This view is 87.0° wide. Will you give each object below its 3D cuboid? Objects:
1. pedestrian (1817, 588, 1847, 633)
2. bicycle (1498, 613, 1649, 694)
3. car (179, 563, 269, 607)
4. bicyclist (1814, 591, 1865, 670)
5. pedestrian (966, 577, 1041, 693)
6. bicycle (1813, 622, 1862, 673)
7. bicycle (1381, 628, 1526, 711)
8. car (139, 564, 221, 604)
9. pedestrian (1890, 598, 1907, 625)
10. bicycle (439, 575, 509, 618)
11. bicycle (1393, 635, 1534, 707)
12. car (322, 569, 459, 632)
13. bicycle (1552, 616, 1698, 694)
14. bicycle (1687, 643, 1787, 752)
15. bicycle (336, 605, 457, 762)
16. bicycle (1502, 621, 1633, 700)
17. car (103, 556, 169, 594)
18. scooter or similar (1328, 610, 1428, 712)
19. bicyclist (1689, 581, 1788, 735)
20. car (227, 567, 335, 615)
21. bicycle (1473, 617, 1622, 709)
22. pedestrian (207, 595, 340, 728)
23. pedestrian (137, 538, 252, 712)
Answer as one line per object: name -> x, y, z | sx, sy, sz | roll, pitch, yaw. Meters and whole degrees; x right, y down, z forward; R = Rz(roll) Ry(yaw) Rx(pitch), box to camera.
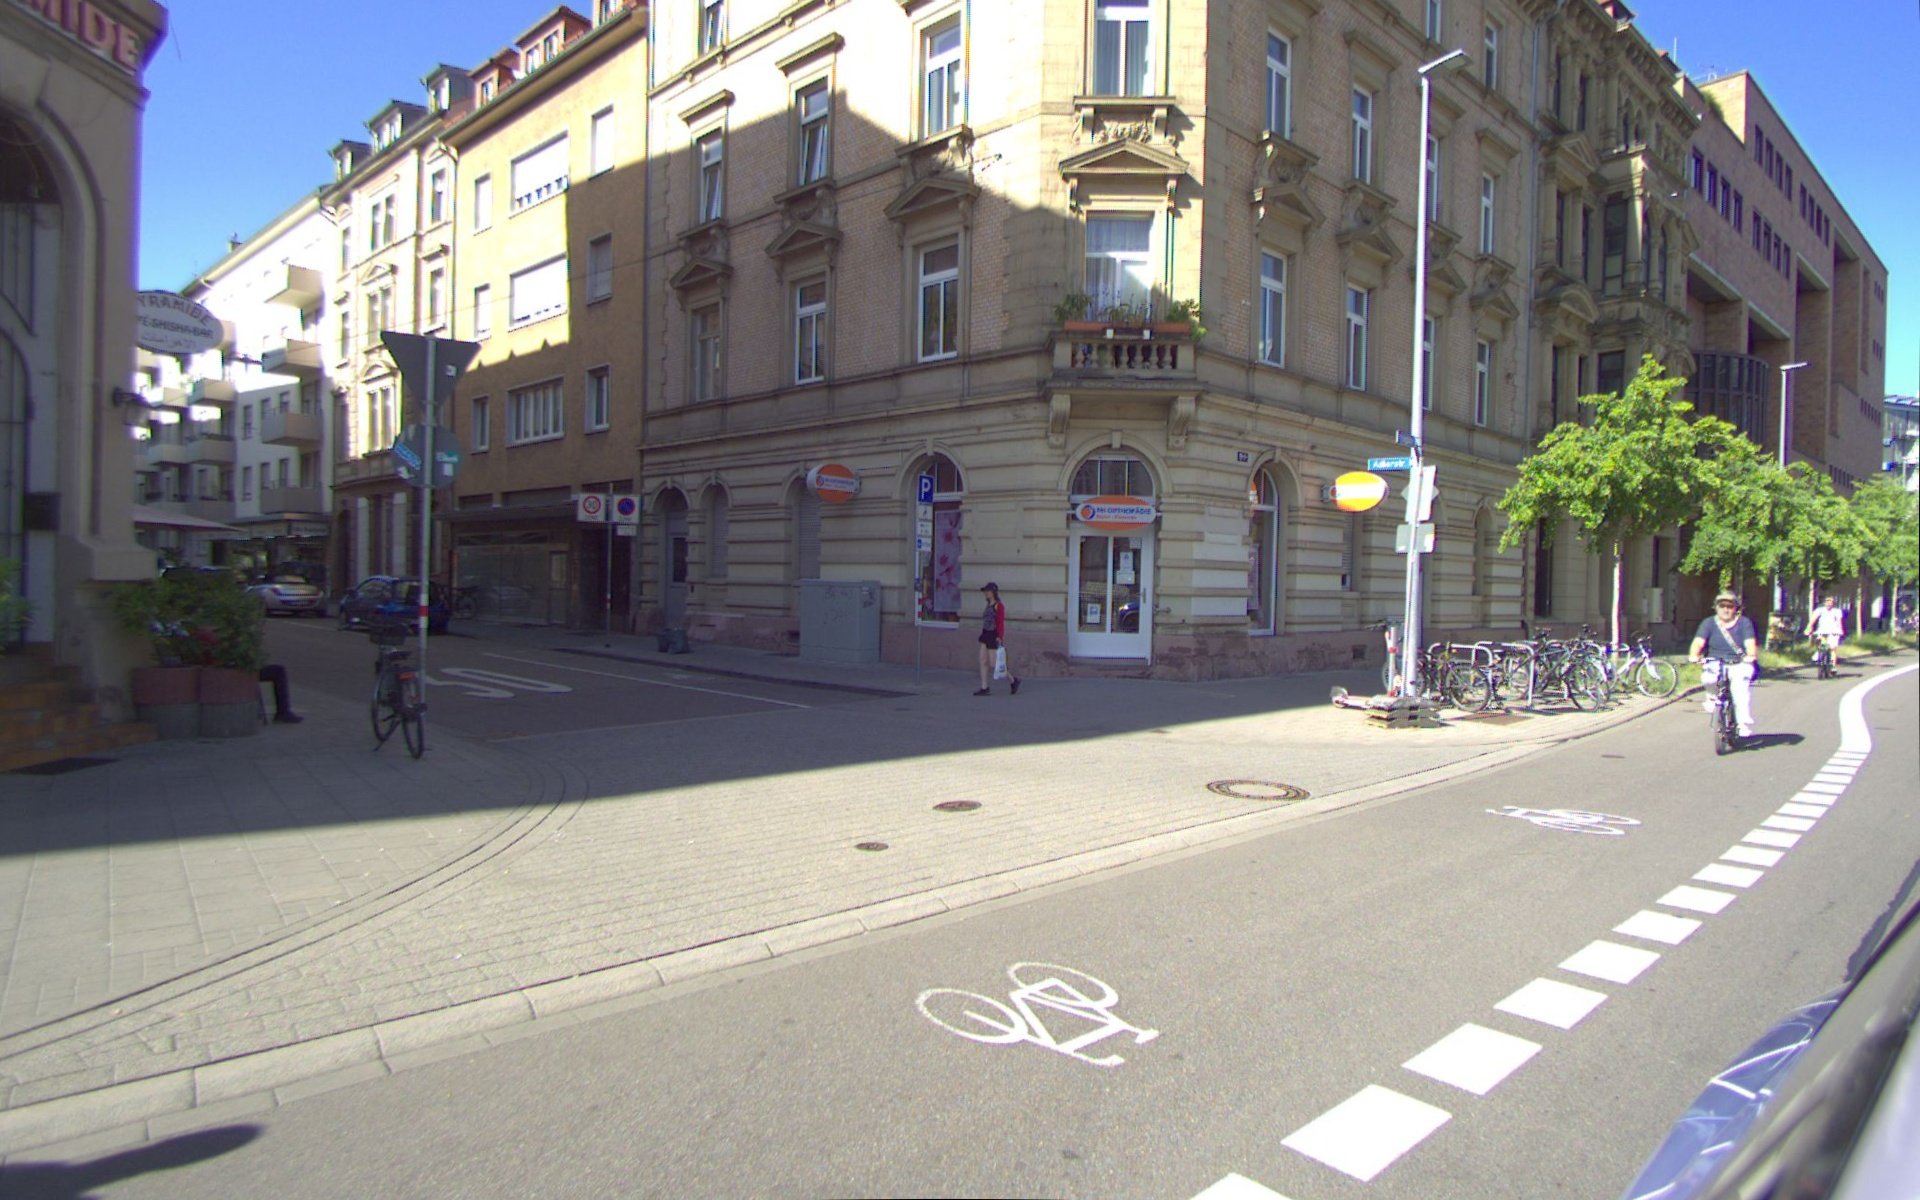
pedestrian -> 37.437, 0.445, 43.435 | 1.087, 1.906, 0.789 | 0, 1, -41
bicycle -> 10.282, 0.860, 17.024 | 0.697, 1.142, 2.001 | 1, 3, -39
car -> -26.037, -0.542, 35.765 | 3.757, 1.450, 1.776 | 2, 1, 40
bicyclist -> 19.960, 0.671, 22.969 | 0.892, 1.751, 0.684 | 0, -1, -38
pedestrian -> 0.596, 0.472, 14.078 | 0.908, 1.561, 0.712 | 1, 1, -7
bicycle -> 19.917, 1.065, 22.962 | 1.480, 1.110, 0.578 | 0, -1, -39
bicycle -> 6.644, 0.906, 13.701 | 0.595, 0.955, 1.677 | 1, 1, -33
car -> -30.112, -0.644, 39.054 | 3.757, 1.450, 1.776 | 2, 1, 40
pedestrian -> 54.304, 0.659, 58.546 | 0.723, 1.505, 0.633 | 0, 1, -41
bicycle -> -14.321, -0.111, 29.836 | 1.988, 1.193, 0.629 | 1, 1, 19
bicycle -> 7.047, 0.967, 14.237 | 0.595, 0.831, 1.677 | 1, 2, -33
car -> -14.654, -0.001, 25.973 | 3.983, 1.438, 1.775 | 2, -1, 40
bicycle -> 11.507, 0.911, 17.549 | 1.993, 1.106, 0.835 | 5, 3, 40
bicycle -> 8.281, 0.998, 10.763 | 1.481, 1.040, 0.558 | 0, -1, -41
bicycle -> -5.028, 0.687, 8.974 | 0.641, 1.186, 1.823 | 5, -1, -36
bicycle -> 9.524, 0.920, 15.920 | 0.595, 1.058, 1.605 | 1, 3, -37
car -> -37.560, -1.147, 46.114 | 3.758, 1.686, 1.775 | 2, 1, 42
scooter or similar -> 5.378, 0.762, 13.060 | 0.411, 1.204, 1.115 | 1, 1, -33
bicyclist -> 8.304, 0.594, 10.799 | 0.893, 1.557, 0.658 | 1, -1, -41
car -> -21.368, -0.285, 31.799 | 3.983, 1.351, 1.775 | 2, -1, 40
bicycle -> 8.516, 0.881, 14.744 | 0.595, 1.114, 1.729 | 1, 3, -37
pedestrian -> -6.760, 0.565, 9.971 | 0.849, 1.229, 0.920 | 0, 0, 43
pedestrian -> -8.323, 0.255, 11.003 | 0.906, 1.783, 0.854 | 0, 0, 43
